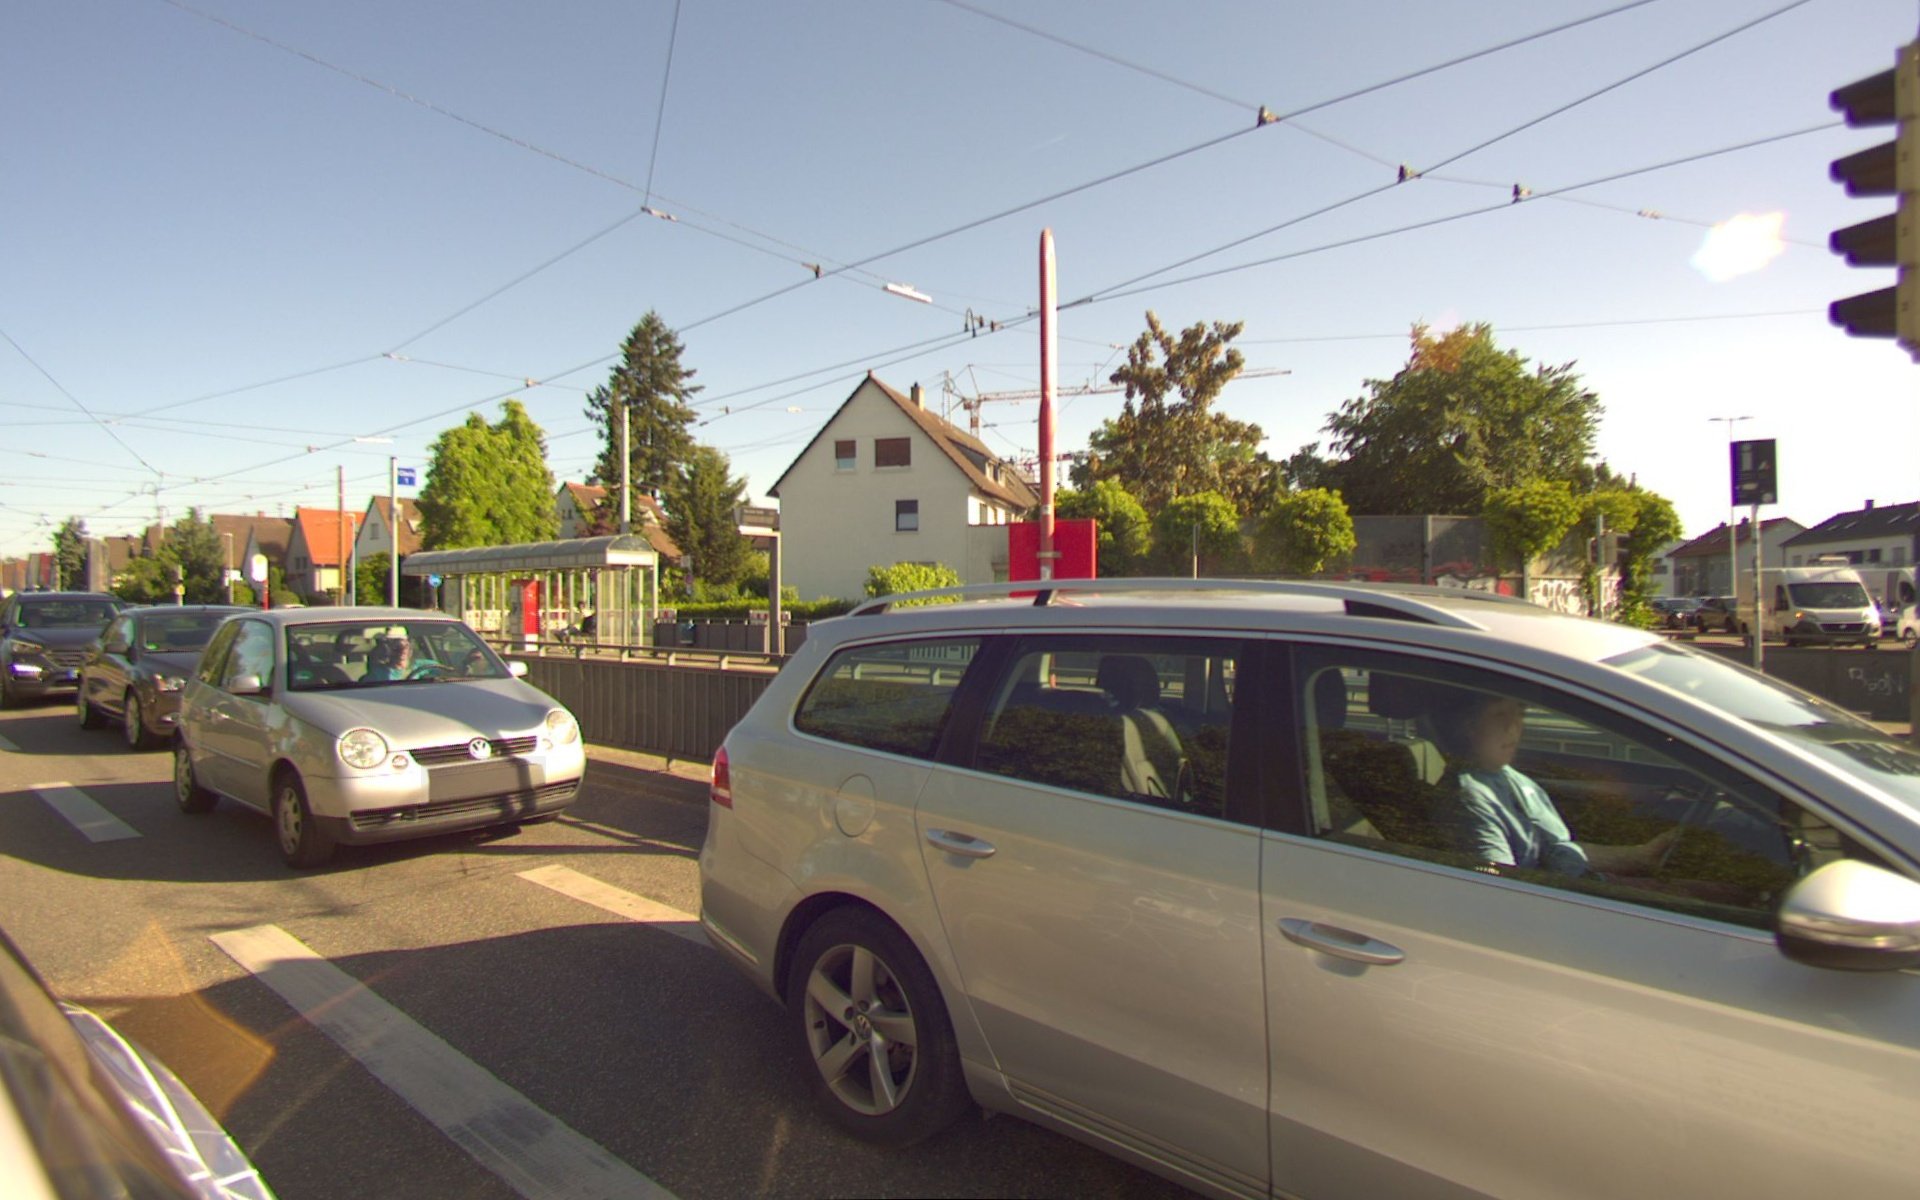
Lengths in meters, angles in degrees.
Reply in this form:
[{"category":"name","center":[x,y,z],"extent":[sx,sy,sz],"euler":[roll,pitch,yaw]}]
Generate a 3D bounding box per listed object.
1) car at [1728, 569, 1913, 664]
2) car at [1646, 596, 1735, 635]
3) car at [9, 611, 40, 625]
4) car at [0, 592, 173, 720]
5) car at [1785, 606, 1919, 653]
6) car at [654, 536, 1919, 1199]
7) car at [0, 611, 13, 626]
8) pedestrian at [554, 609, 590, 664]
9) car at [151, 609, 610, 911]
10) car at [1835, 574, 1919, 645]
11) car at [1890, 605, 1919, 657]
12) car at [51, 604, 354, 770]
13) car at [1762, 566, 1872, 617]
[{"category":"car","center":[25.196,0.477,30.027],"extent":[2.335,2.476,6.813],"euler":[-1,-1,24]},{"category":"car","center":[34.006,0.731,47.237],"extent":[1.981,1.715,3.981],"euler":[-1,-1,14]},{"category":"car","center":[-97.791,1.881,105.800],"extent":[3.999,1.475,1.972],"euler":[-1,-1,42]},{"category":"car","center":[-13.894,0.784,15.649],"extent":[4.297,1.709,1.862],"euler":[-1,-1,40]},{"category":"car","center":[30.020,0.950,33.919],"extent":[1.919,1.477,4.241],"euler":[0,-1,13]},{"category":"car","center":[1.332,0.704,2.430],"extent":[4.417,1.539,1.858],"euler":[-1,-1,40]},{"category":"car","center":[-118.728,2.309,125.198],"extent":[3.999,1.785,1.972],"euler":[-1,-1,42]},{"category":"pedestrian","center":[-10.261,0.944,26.745],"extent":[0.710,1.425,0.616],"euler":[-1,-1,39]},{"category":"car","center":[-3.953,0.814,6.704],"extent":[3.411,1.479,1.565],"euler":[-1,-1,40]},{"category":"car","center":[34.345,0.349,36.214],"extent":[2.161,2.429,5.893],"euler":[0,-1,15]},{"category":"car","center":[27.956,0.865,27.564],"extent":[1.919,1.477,4.347],"euler":[0,-1,13]},{"category":"car","center":[-8.664,0.841,11.453],"extent":[4.189,1.546,1.733],"euler":[-1,-1,38]},{"category":"car","center":[35.556,-0.303,42.129],"extent":[1.790,2.029,3.984],"euler":[0,-1,12]}]
